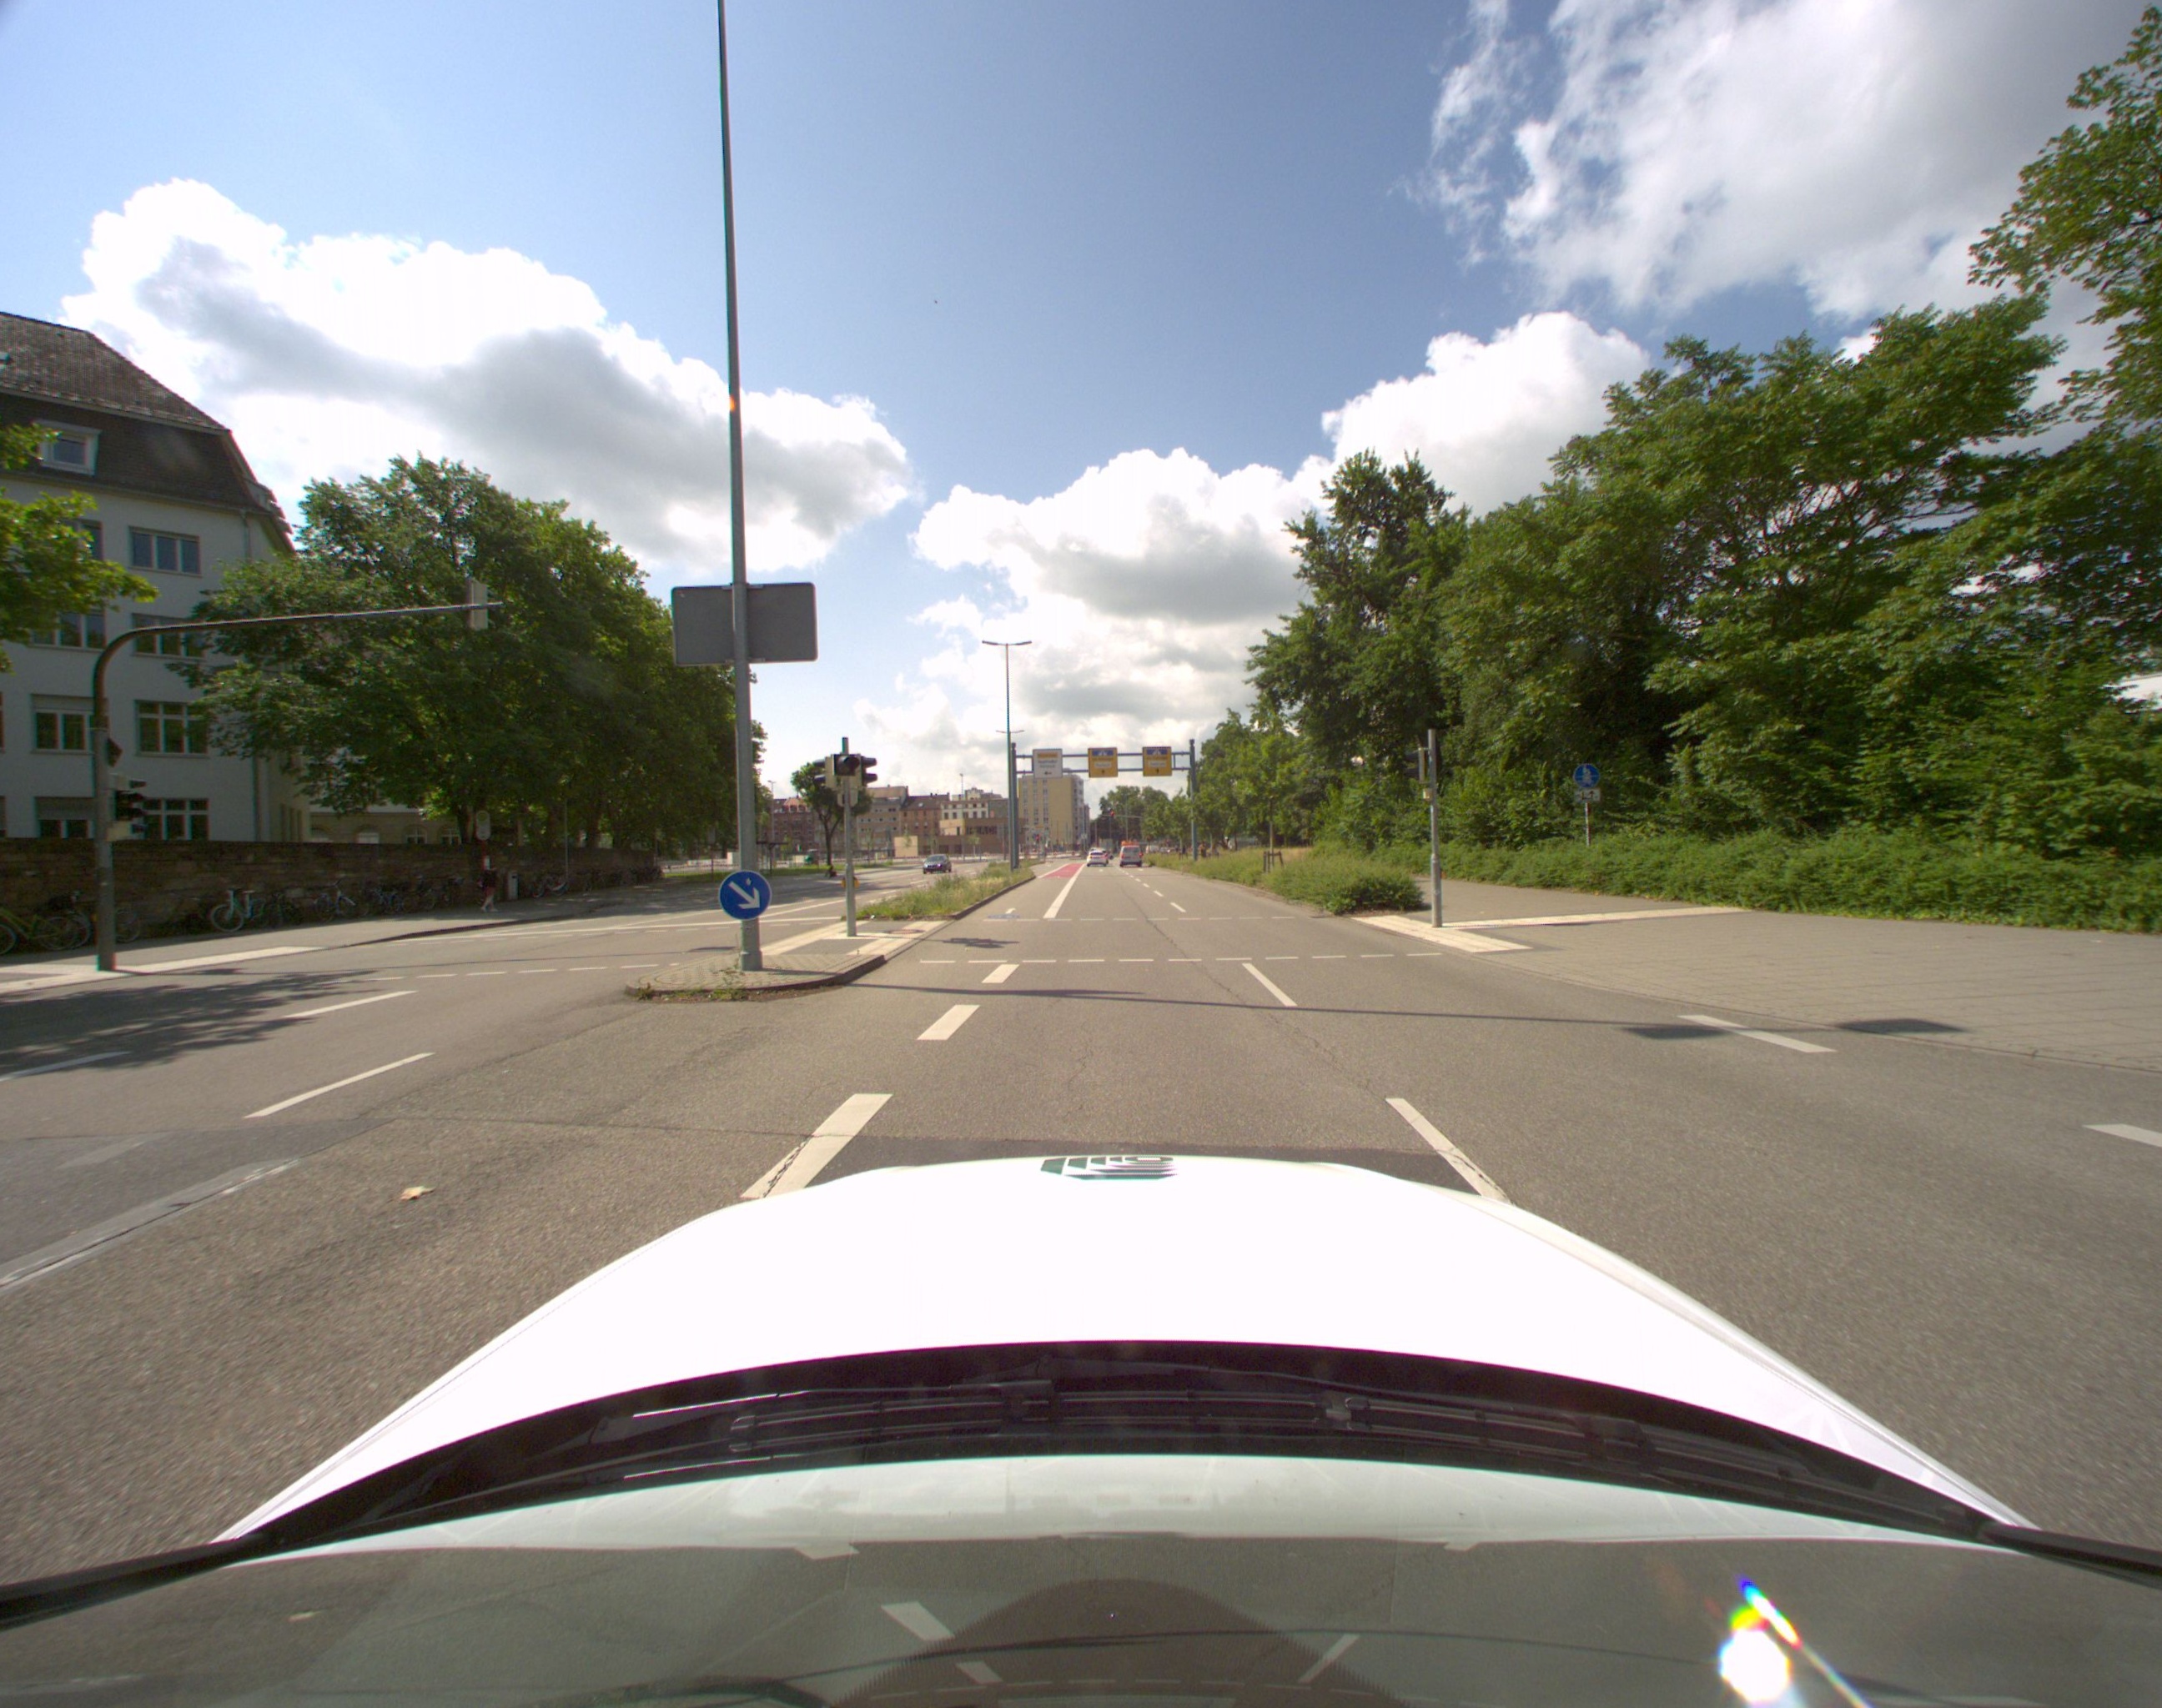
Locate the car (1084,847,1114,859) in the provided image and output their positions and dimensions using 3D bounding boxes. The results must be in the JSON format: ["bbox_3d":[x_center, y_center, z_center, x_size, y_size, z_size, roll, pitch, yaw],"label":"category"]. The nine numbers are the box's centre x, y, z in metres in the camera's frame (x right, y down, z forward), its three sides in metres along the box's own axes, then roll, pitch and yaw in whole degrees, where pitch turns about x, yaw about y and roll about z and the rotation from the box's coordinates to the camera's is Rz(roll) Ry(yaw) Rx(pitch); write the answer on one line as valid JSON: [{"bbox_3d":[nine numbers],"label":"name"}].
[{"bbox_3d":[2.691,-0.144,120.262,4.020,1.816,1.977,2,0,-40],"label":"car"}]

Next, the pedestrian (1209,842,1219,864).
[{"bbox_3d":[9.733,-0.071,59.594,0.621,1.581,0.708,-2,0,0],"label":"pedestrian"}]

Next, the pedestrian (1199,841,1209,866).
[{"bbox_3d":[8.953,-0.027,59.364,0.565,1.801,0.639,-2,0,0],"label":"pedestrian"}]

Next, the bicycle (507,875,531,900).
[{"bbox_3d":[-23.314,1.377,33.789,0.367,0.955,1.395,-2,0,-15],"label":"bicycle"}]

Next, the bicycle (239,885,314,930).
[{"bbox_3d":[-21.354,1.400,21.650,0.370,1.048,1.875,-2,0,-9],"label":"bicycle"}]

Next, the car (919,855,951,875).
[{"bbox_3d":[-11.488,0.818,64.173,1.695,1.445,4.145,-3,0,0],"label":"car"}]

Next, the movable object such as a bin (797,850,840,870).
[{"bbox_3d":[-39.594,0.910,122.942,2.259,2.885,5.576,-2,0,44],"label":"movable object such as a bin"}]

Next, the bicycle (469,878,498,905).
[{"bbox_3d":[-22.608,1.407,30.820,0.367,0.955,1.395,-2,0,-15],"label":"bicycle"}]

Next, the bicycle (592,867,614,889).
[{"bbox_3d":[-25.518,1.264,43.458,0.583,1.073,1.746,-2,0,-16],"label":"bicycle"}]

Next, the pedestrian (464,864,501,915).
[{"bbox_3d":[-19.206,1.122,26.138,0.655,1.610,0.742,-1,0,-8],"label":"pedestrian"}]

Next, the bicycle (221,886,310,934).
[{"bbox_3d":[-20.642,1.396,20.668,0.591,1.048,1.875,-2,0,-9],"label":"bicycle"}]

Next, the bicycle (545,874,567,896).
[{"bbox_3d":[-24.174,1.401,37.512,0.370,0.955,1.618,-2,0,-15],"label":"bicycle"}]

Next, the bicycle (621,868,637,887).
[{"bbox_3d":[-27.254,1.394,49.084,0.584,1.073,1.743,-2,0,-21],"label":"bicycle"}]

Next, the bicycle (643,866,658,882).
[{"bbox_3d":[-31.016,1.439,58.708,0.583,1.073,1.859,-2,0,-17],"label":"bicycle"}]

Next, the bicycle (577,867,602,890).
[{"bbox_3d":[-25.045,1.236,41.508,0.583,1.073,1.747,-2,0,-15],"label":"bicycle"}]

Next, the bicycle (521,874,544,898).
[{"bbox_3d":[-23.682,1.366,35.189,0.367,0.955,1.395,-2,0,-15],"label":"bicycle"}]

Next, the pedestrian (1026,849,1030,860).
[{"bbox_3d":[-8.466,0.048,129.455,0.521,1.733,0.625,-2,0,10],"label":"pedestrian"}]

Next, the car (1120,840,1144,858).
[{"bbox_3d":[8.247,-0.805,131.056,2.110,2.780,4.665,-2,0,25],"label":"car"}]

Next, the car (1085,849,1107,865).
[{"bbox_3d":[1.428,0.270,76.455,1.896,1.424,4.387,-2,0,2],"label":"car"}]

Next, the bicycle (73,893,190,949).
[{"bbox_3d":[-20.658,1.434,17.780,0.564,1.048,1.875,-2,0,-9],"label":"bicycle"}]

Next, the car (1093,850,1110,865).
[{"bbox_3d":[2.151,0.374,86.967,1.784,1.539,4.012,0,0,1],"label":"car"}]

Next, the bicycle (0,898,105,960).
[{"bbox_3d":[-20.345,1.437,15.842,0.630,1.048,1.875,-2,0,-9],"label":"bicycle"}]

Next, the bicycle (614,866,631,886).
[{"bbox_3d":[-26.552,1.276,47.146,0.584,1.073,1.743,-2,0,-21],"label":"bicycle"}]

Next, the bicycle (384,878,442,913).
[{"bbox_3d":[-22.049,1.360,26.930,0.580,1.048,1.875,-2,0,-9],"label":"bicycle"}]

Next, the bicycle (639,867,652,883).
[{"bbox_3d":[-29.660,1.422,55.487,0.584,1.073,1.620,-2,0,-21],"label":"bicycle"}]

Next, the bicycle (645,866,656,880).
[{"bbox_3d":[-31.955,1.382,60.456,0.472,1.011,1.950,-2,0,-20],"label":"bicycle"}]

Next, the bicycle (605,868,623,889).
[{"bbox_3d":[-26.003,1.363,45.349,0.584,1.073,1.743,-2,0,-21],"label":"bicycle"}]

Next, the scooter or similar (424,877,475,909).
[{"bbox_3d":[-22.361,1.366,28.878,0.580,1.048,1.875,-2,0,-9],"label":"scooter or similar"}]

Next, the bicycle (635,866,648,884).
[{"bbox_3d":[-29.058,1.382,53.853,0.584,1.073,1.620,-2,0,-21],"label":"bicycle"}]

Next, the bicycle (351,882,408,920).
[{"bbox_3d":[-21.457,1.407,24.957,0.372,1.048,1.875,-2,0,-9],"label":"bicycle"}]

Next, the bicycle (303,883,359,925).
[{"bbox_3d":[-21.205,1.392,23.056,0.594,1.048,1.866,-2,0,-25],"label":"bicycle"}]

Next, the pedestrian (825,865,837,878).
[{"bbox_3d":[-18.289,1.281,59.606,0.692,0.963,0.742,-1,0,-1],"label":"pedestrian"}]

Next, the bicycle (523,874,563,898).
[{"bbox_3d":[-22.830,1.344,34.579,0.364,0.955,1.629,-1,0,9],"label":"bicycle"}]

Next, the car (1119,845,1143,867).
[{"bbox_3d":[4.427,0.130,72.939,1.935,1.870,4.827,-2,0,2],"label":"car"}]

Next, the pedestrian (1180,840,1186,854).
[{"bbox_3d":[13.675,-0.939,109.069,0.739,1.735,0.679,-2,0,4],"label":"pedestrian"}]

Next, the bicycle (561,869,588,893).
[{"bbox_3d":[-24.493,1.277,39.398,0.583,1.073,1.747,-2,0,-15],"label":"bicycle"}]

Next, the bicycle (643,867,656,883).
[{"bbox_3d":[-30.240,1.439,57.038,0.584,1.073,1.620,-2,0,-21],"label":"bicycle"}]

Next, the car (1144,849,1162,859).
[{"bbox_3d":[14.659,-0.068,165.384,1.987,1.966,4.665,-2,0,25],"label":"car"}]

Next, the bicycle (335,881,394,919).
[{"bbox_3d":[-21.847,1.389,24.881,0.393,1.048,1.875,-2,0,-9],"label":"bicycle"}]

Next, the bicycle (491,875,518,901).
[{"bbox_3d":[-22.913,1.329,32.381,0.367,0.955,1.395,-2,0,-15],"label":"bicycle"}]

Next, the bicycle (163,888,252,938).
[{"bbox_3d":[-21.094,1.405,19.725,0.370,1.048,1.875,-2,0,-9],"label":"bicycle"}]
